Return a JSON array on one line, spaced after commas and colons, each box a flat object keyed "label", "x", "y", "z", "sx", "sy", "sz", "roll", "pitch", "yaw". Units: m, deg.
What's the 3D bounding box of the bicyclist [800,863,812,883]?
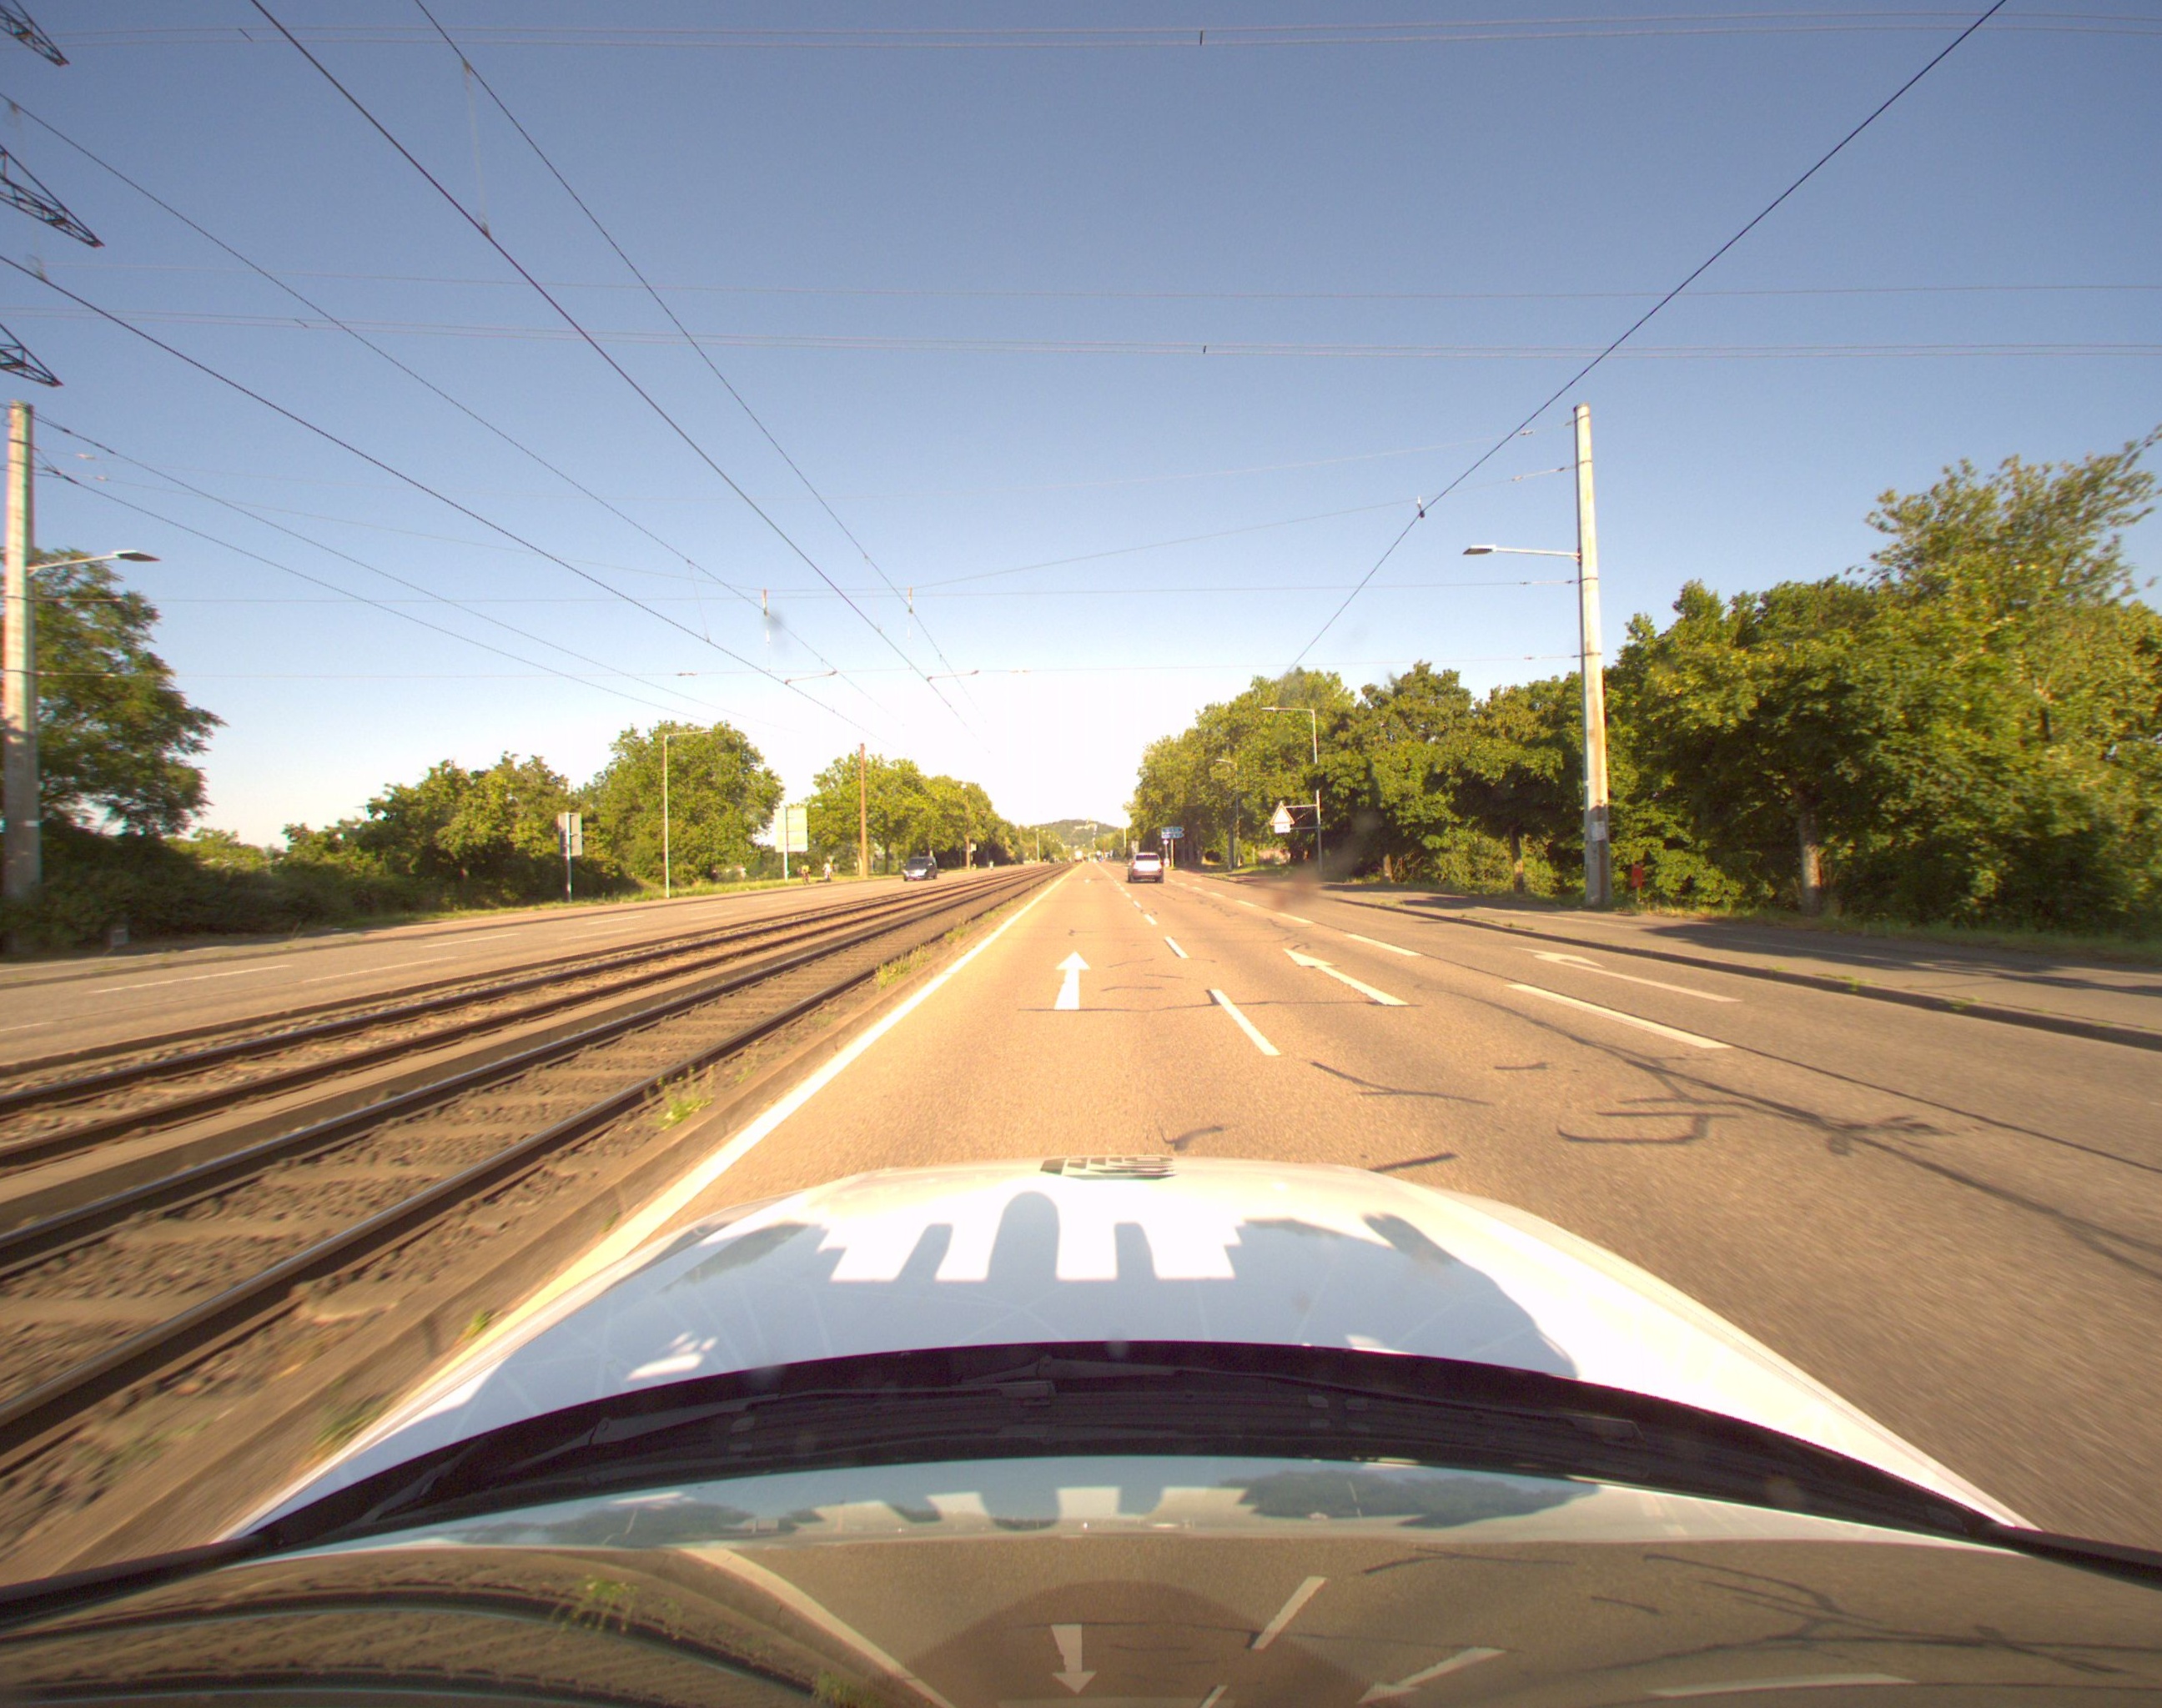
[{"label": "bicyclist", "x": -20.485, "y": 1.413, "z": 60.657, "sx": 0.588, "sy": 1.528, "sz": 0.906, "roll": -1, "pitch": -1, "yaw": 0}]

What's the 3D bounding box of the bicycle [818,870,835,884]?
[{"label": "bicycle", "x": -19.584, "y": 1.731, "z": 62.765, "sx": 0.588, "sy": 1.022, "sz": 2.185, "roll": -1, "pitch": -1, "yaw": 0}]

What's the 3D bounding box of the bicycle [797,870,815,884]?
[{"label": "bicycle", "x": -20.481, "y": 1.702, "z": 60.655, "sx": 0.588, "sy": 1.022, "sz": 2.185, "roll": -1, "pitch": -1, "yaw": 0}]

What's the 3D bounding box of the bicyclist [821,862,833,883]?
[{"label": "bicyclist", "x": -19.585, "y": 1.421, "z": 62.852, "sx": 0.588, "sy": 1.611, "sz": 0.967, "roll": -1, "pitch": -1, "yaw": 0}]

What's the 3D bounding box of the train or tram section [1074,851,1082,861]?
[{"label": "train or tram section", "x": -0.883, "y": 0.700, "z": 265.124, "sx": 2.303, "sy": 3.217, "sz": 9.475, "roll": 1, "pitch": -1, "yaw": 1}]

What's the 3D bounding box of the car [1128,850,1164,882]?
[{"label": "car", "x": 3.644, "y": 0.666, "z": 46.039, "sx": 1.880, "sy": 1.693, "sz": 4.259, "roll": -1, "pitch": -1, "yaw": 3}]

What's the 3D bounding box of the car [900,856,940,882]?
[{"label": "car", "x": -12.750, "y": 1.157, "z": 64.935, "sx": 1.986, "sy": 1.923, "sz": 4.862, "roll": -2, "pitch": -1, "yaw": 2}]
